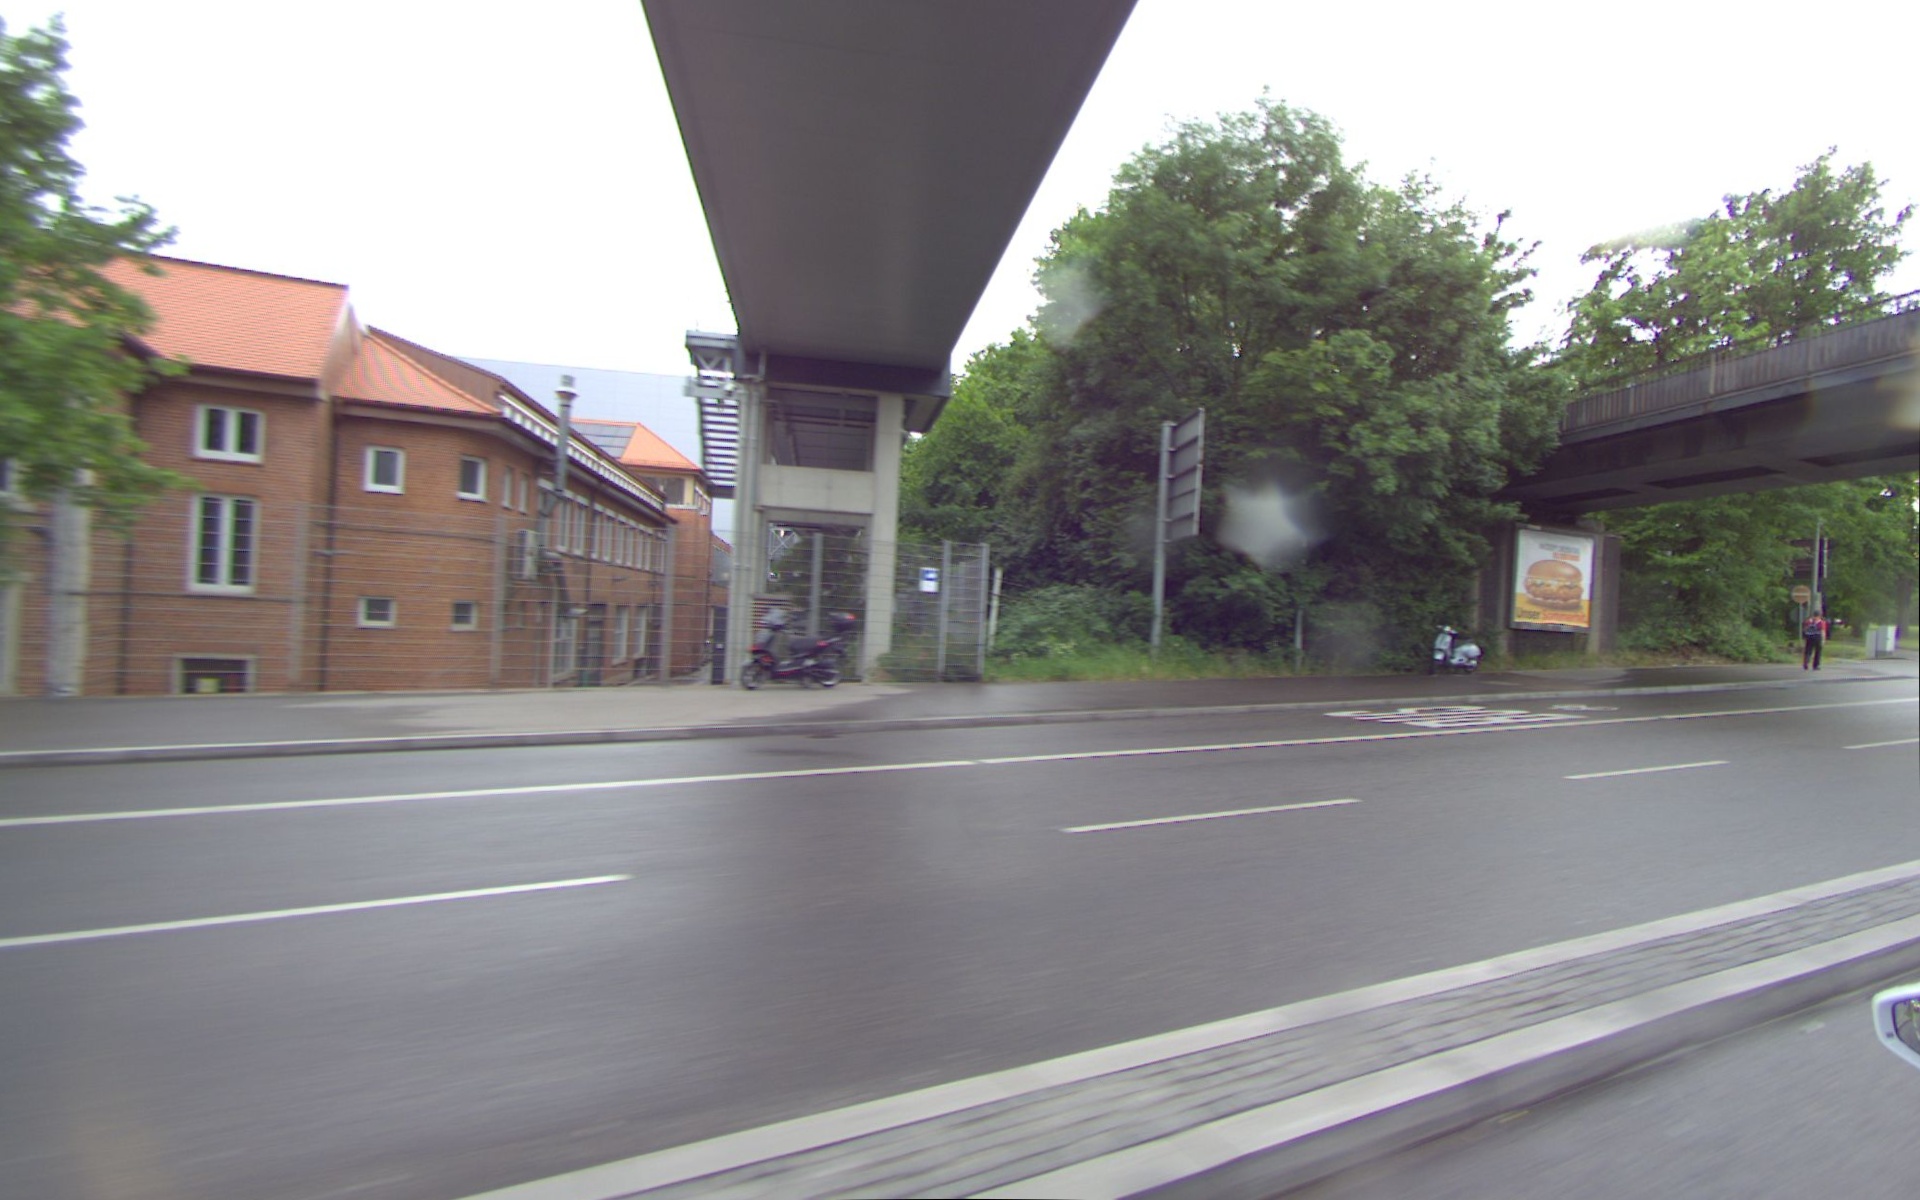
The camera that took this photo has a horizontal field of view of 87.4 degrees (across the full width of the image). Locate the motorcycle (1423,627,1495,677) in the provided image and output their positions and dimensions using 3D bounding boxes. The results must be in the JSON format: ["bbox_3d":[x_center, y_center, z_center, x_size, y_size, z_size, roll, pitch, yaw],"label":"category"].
[{"bbox_3d":[12.032,1.239,24.206,1.905,1.174,0.467,1,0,-25],"label":"motorcycle"}]

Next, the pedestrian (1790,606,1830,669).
[{"bbox_3d":[25.307,1.121,29.907,0.786,1.840,0.519,1,1,-17],"label":"pedestrian"}]

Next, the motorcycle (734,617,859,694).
[{"bbox_3d":[-2.671,0.894,16.521,1.971,1.221,0.467,1,0,-28],"label":"motorcycle"}]
